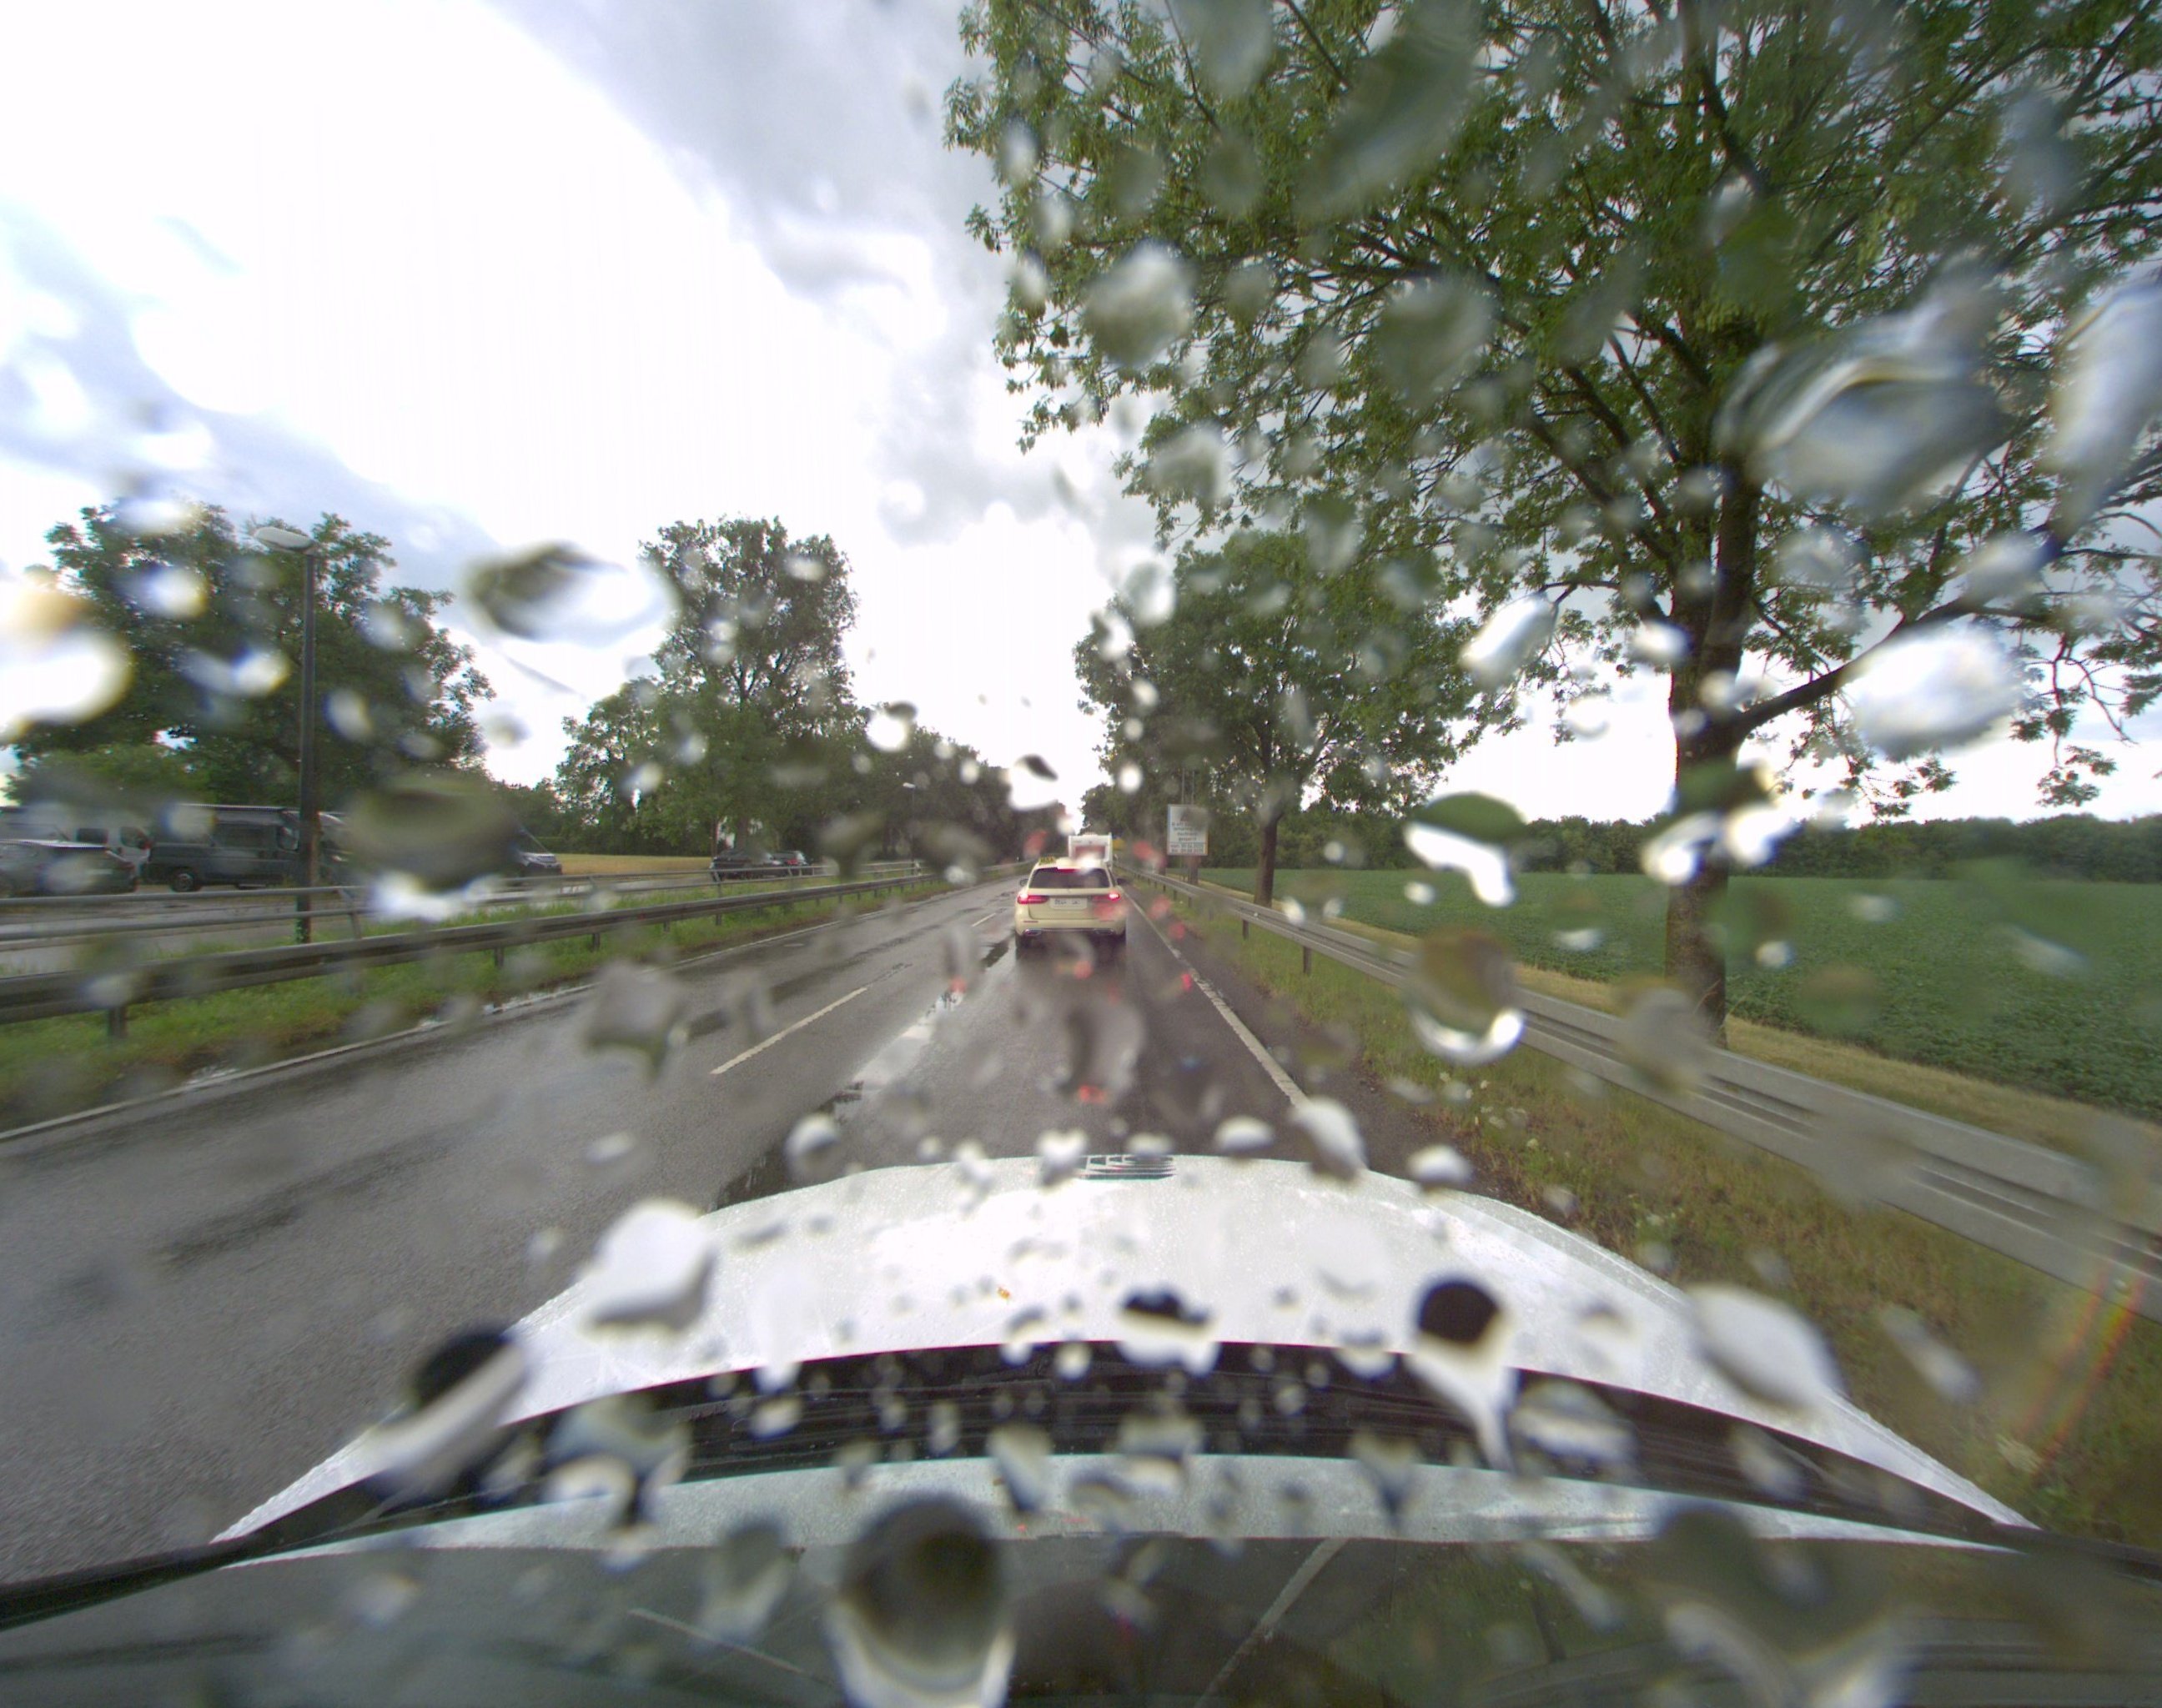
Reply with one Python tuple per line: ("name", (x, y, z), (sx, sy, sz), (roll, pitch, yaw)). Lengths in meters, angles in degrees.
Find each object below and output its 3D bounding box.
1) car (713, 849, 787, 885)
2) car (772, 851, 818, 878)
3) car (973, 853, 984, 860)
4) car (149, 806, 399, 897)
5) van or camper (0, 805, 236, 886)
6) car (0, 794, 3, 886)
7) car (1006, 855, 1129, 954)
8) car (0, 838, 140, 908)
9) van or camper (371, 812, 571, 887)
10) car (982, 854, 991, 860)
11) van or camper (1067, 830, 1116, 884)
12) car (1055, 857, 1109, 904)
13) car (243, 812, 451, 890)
("car", (-14.794, 0.523, 36.692), (1.512, 1.491, 5.115), (1, 0, -4))
("car", (-15.119, 0.532, 43.270), (1.280, 1.331, 3.893), (0, 0, -3))
("car", (-23.914, 0.553, 189.919), (1.779, 1.416, 4.002), (1, 0, 2))
("car", (-23.980, -0.069, 24.397), (5.173, 2.501, 1.997), (1, 0, -5))
("van or camper", (-33.456, -0.285, 28.213), (5.797, 2.590, 1.996), (1, 0, -7))
("car", (-32.813, -0.421, 21.416), (6.072, 2.538, 2.091), (1, 0, 0))
("car", (-0.140, 0.772, 14.394), (1.858, 1.476, 4.002), (-1, 0, 2))
("car", (-24.647, 0.401, 18.891), (3.869, 1.496, 1.541), (1, 0, 2))
("van or camper", (-23.322, -0.163, 31.346), (5.864, 2.677, 2.078), (1, 0, -5))
("car", (-23.599, 0.650, 203.372), (1.780, 1.416, 3.998), (1, 0, -1))
("van or camper", (0.611, 0.143, 43.969), (2.480, 2.685, 5.702), (0, 0, 2))
("car", (0.102, 0.837, 27.359), (1.658, 1.430, 4.002), (-1, 0, 2))
("car", (-24.833, -0.095, 27.700), (5.079, 2.459, 1.998), (1, 0, -2))
